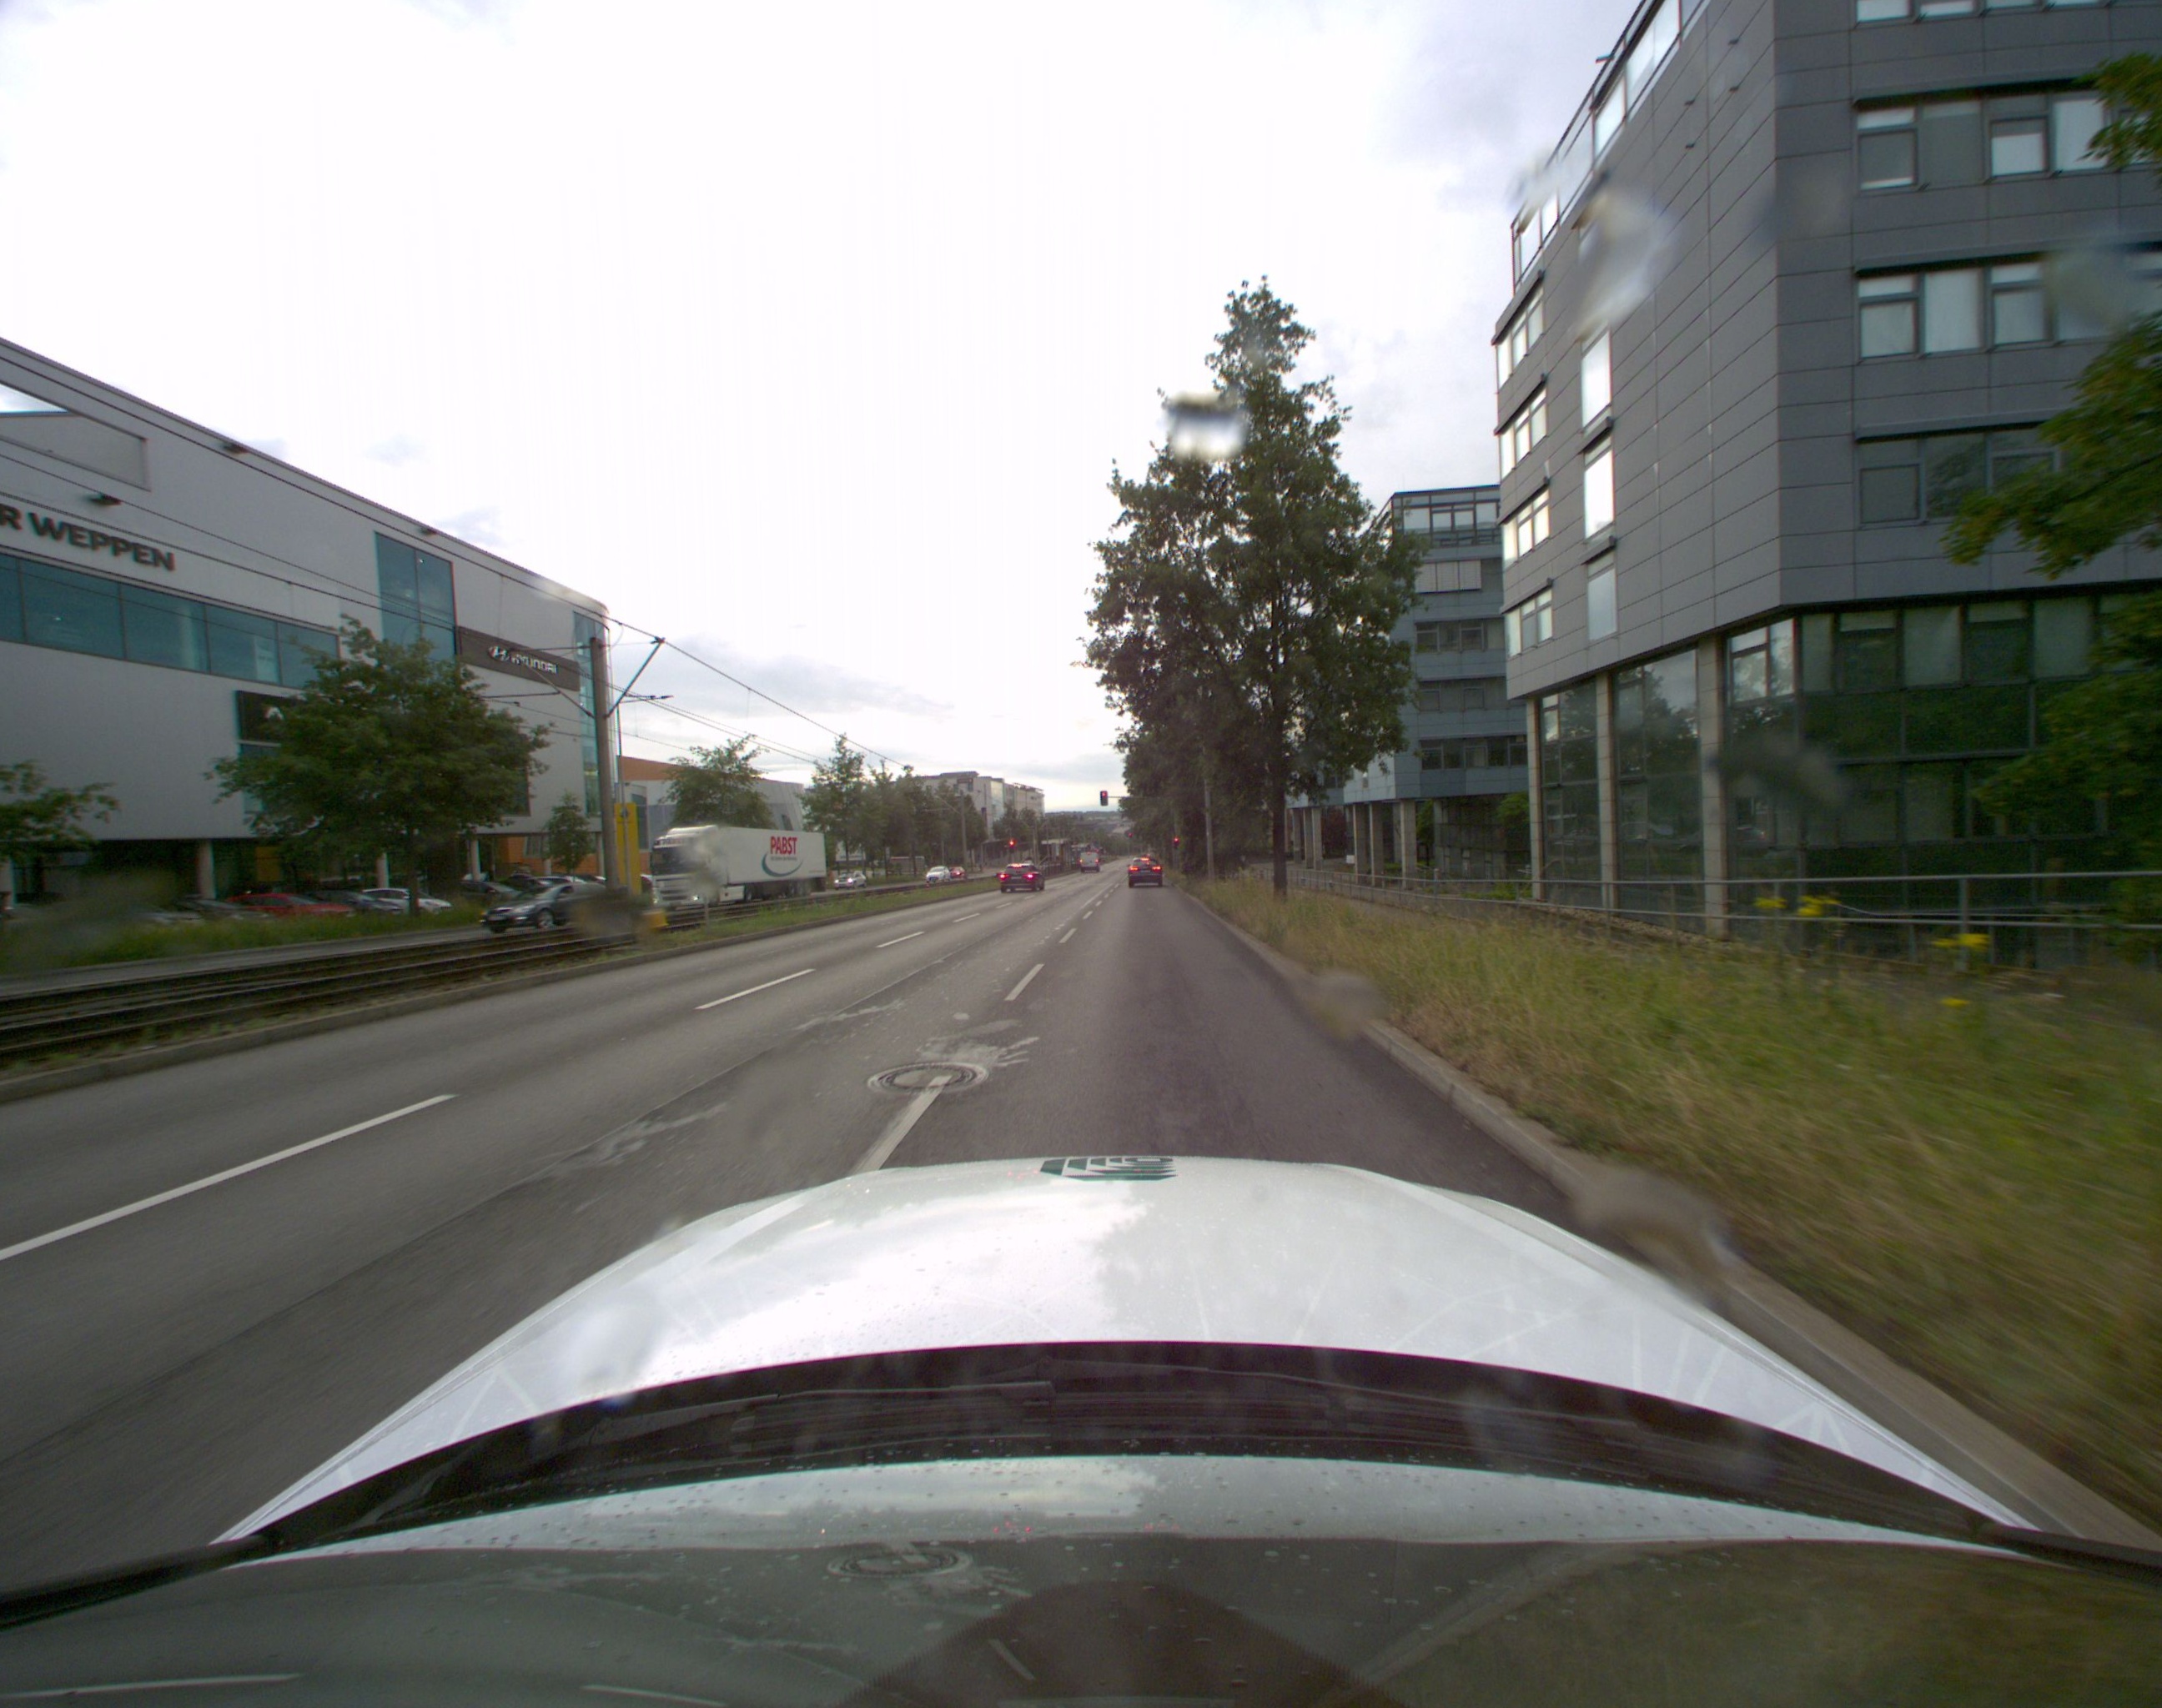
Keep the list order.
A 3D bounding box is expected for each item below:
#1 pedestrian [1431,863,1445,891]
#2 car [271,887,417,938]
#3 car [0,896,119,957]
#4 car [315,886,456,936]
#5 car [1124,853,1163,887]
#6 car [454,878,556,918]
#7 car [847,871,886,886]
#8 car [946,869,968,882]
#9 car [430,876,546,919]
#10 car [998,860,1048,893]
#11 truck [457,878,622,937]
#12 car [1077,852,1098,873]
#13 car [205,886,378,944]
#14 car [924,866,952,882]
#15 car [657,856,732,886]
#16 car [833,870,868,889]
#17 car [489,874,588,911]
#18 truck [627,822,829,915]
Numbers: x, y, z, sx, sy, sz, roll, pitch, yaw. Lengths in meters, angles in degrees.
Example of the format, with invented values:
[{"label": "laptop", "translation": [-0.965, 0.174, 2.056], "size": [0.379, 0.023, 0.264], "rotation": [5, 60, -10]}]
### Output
[{"label": "pedestrian", "translation": [18.127, 1.183, 41.358], "size": [0.501, 1.408, 0.458], "rotation": [-1, -1, 4]}, {"label": "car", "translation": [-32.480, 2.542, 36.042], "size": [4.347, 1.864, 1.875], "rotation": [-3, -1, -13]}, {"label": "car", "translation": [-33.595, 2.301, 24.928], "size": [5.015, 1.653, 2.008], "rotation": [-2, 0, -17]}, {"label": "car", "translation": [-32.664, 2.656, 38.403], "size": [4.601, 1.976, 2.014], "rotation": [-3, -1, -9]}, {"label": "car", "translation": [3.421, 0.851, 45.146], "size": [1.915, 1.710, 4.100], "rotation": [-1, 1, 2]}, {"label": "car", "translation": [-33.068, 2.507, 46.855], "size": [4.338, 1.976, 1.872], "rotation": [-3, -1, -3]}, {"label": "car", "translation": [-27.666, 3.130, 105.142], "size": [4.307, 1.809, 2.099], "rotation": [-1, 1, 0]}, {"label": "car", "translation": [-14.910, 2.587, 97.888], "size": [1.655, 1.442, 3.902], "rotation": [-1, -1, 5]}, {"label": "car", "translation": [-31.892, 2.323, 43.917], "size": [4.591, 1.976, 2.018], "rotation": [-3, -1, -3]}, {"label": "car", "translation": [-2.904, 1.092, 41.685], "size": [1.777, 1.413, 4.813], "rotation": [-1, 1, 5]}, {"label": "truck", "translation": [-17.589, 1.687, 26.781], "size": [1.932, 1.568, 4.553], "rotation": [-4, -1, 7]}, {"label": "car", "translation": [0.710, 0.945, 95.477], "size": [2.261, 2.284, 4.757], "rotation": [-1, 1, -1]}, {"label": "car", "translation": [-32.134, 2.440, 33.326], "size": [4.613, 1.976, 2.008], "rotation": [-2, -1, -17]}, {"label": "car", "translation": [-13.466, 1.891, 76.915], "size": [1.655, 1.442, 3.900], "rotation": [-1, -1, 3]}, {"label": "car", "translation": [-32.080, 1.383, 67.716], "size": [5.309, 2.313, 2.011], "rotation": [-1, -1, -14]}, {"label": "car", "translation": [-20.084, 2.178, 71.033], "size": [1.655, 1.544, 3.902], "rotation": [-1, -1, 5]}, {"label": "car", "translation": [-33.262, 2.342, 50.023], "size": [4.591, 1.976, 2.018], "rotation": [-3, -1, -3]}, {"label": "truck", "translation": [-18.892, 0.581, 45.981], "size": [3.029, 4.180, 17.215], "rotation": [-1, 1, 3]}]
